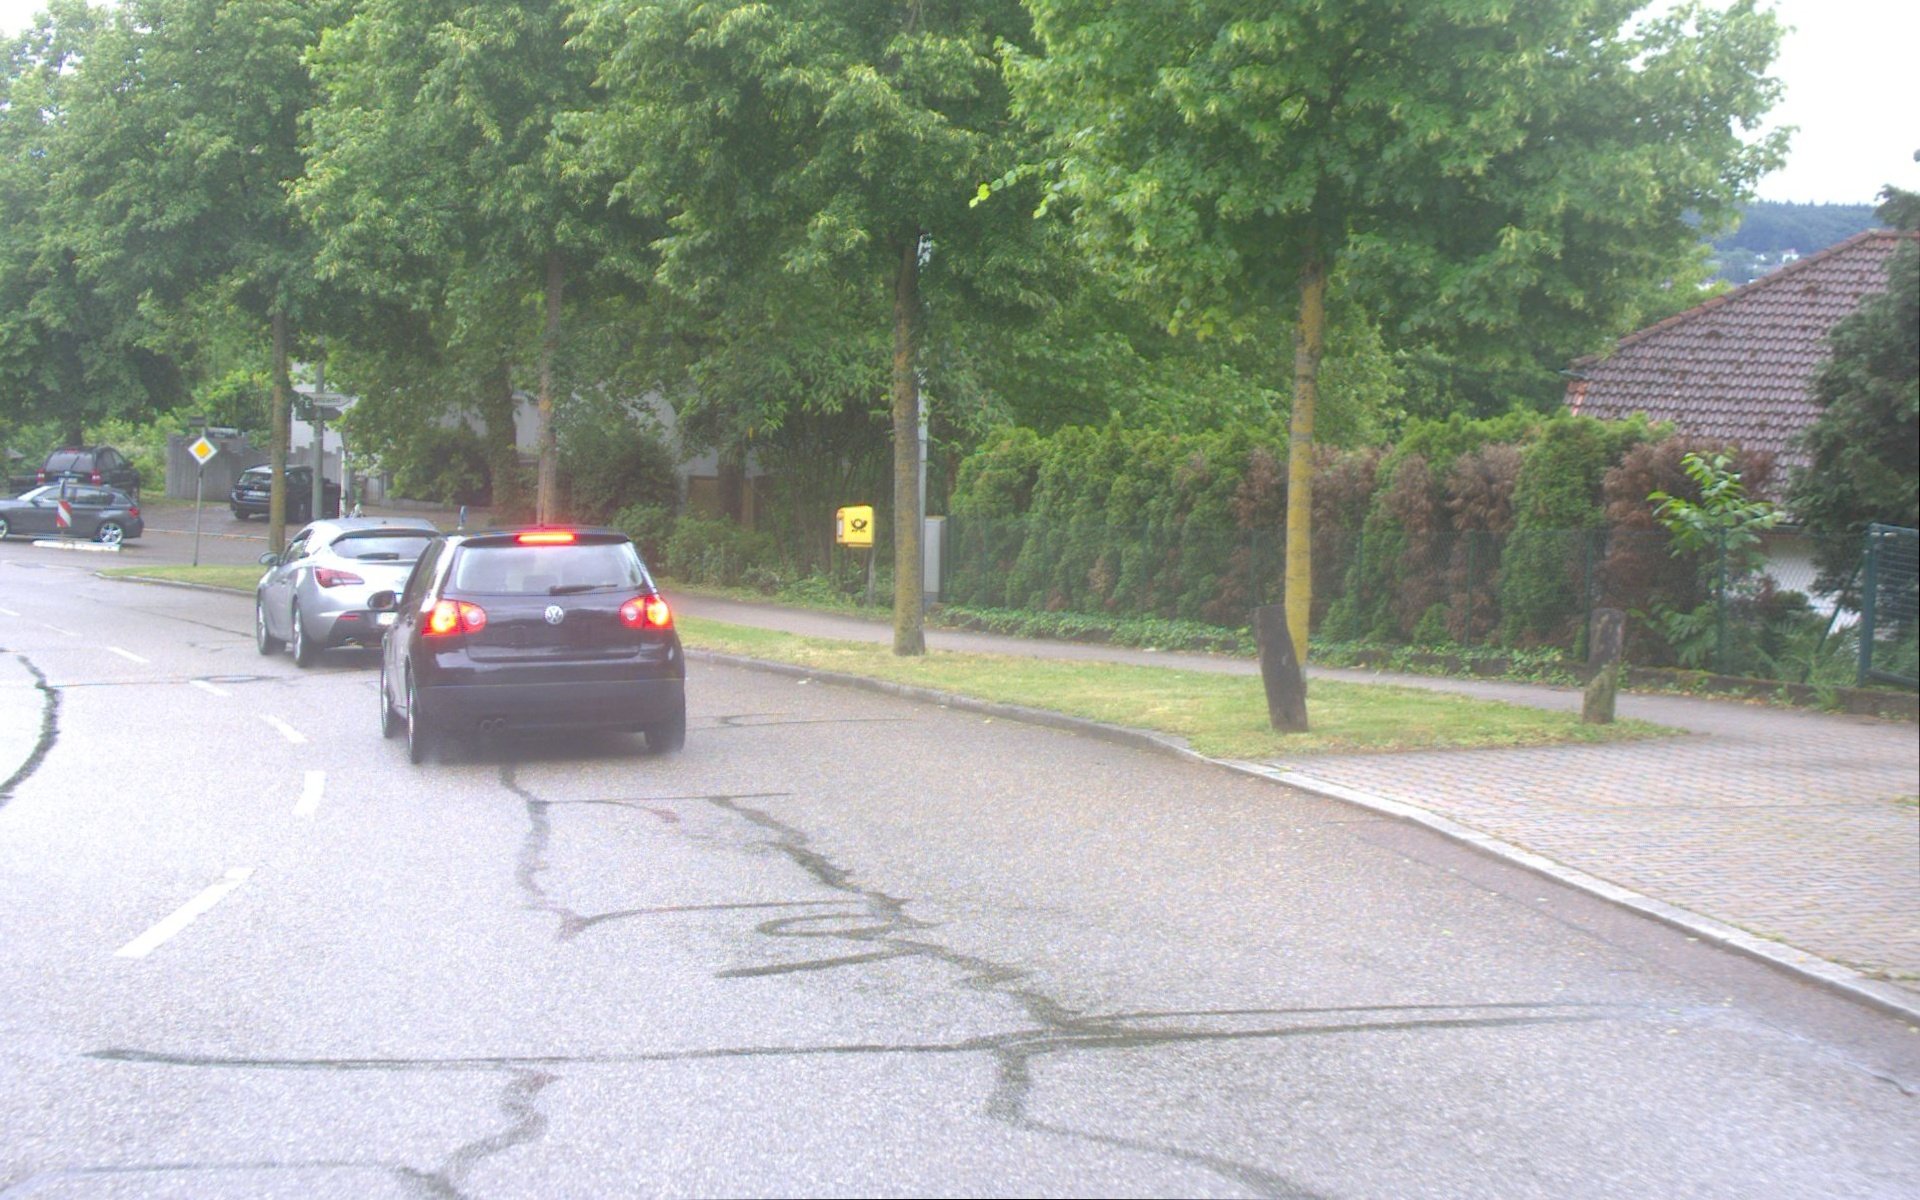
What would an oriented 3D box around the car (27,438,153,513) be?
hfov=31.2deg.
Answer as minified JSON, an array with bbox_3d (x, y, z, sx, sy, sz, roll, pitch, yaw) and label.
[{"bbox_3d":[-23.491,-3.395,93.013,1.947,1.683,4.904,3,5,2],"label":"car"}]

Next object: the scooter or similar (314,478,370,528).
[{"bbox_3d":[-16.330,-2.563,90.898,1.335,1.281,0.562,-2,3,-31],"label":"scooter or similar"}]

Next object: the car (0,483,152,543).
[{"bbox_3d":[-21.372,-2.059,81.359,4.125,1.379,1.727,0,1,-24],"label":"car"}]

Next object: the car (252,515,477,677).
[{"bbox_3d":[-6.107,-0.089,34.931,1.754,1.459,4.002,0,3,-17],"label":"car"}]

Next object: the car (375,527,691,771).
[{"bbox_3d":[-2.928,0.258,22.899,1.721,1.459,4.001,0,1,-12],"label":"car"}]

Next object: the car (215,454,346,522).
[{"bbox_3d":[-18.223,-3.043,92.395,1.752,1.464,4.564,4,6,12],"label":"car"}]
